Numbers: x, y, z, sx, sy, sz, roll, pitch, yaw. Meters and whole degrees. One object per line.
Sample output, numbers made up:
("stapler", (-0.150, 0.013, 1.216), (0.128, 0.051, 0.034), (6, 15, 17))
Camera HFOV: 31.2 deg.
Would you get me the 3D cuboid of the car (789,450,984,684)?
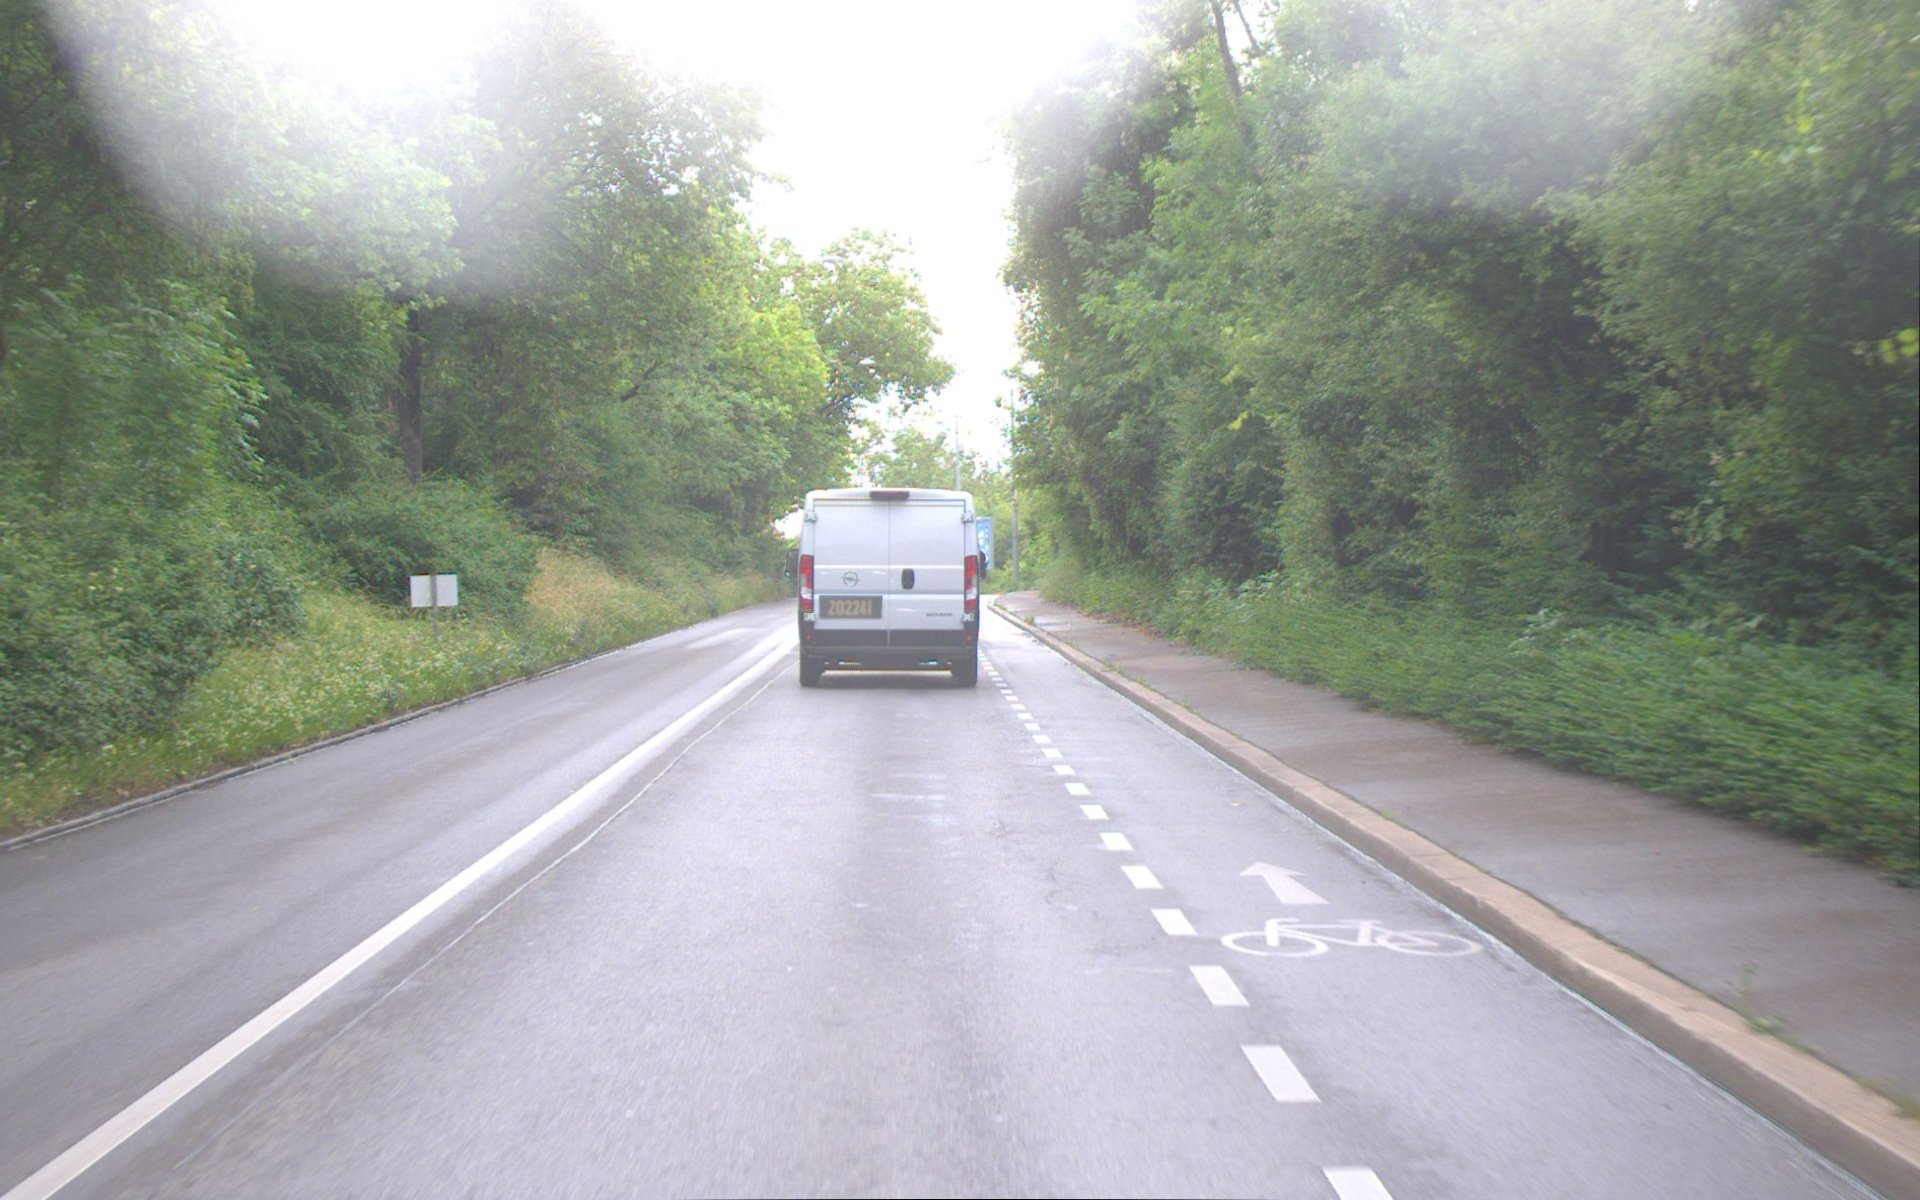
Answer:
("car", (-0.826, -0.425, 40.461), (2.050, 2.508, 4.944), (2, 1, 0))
